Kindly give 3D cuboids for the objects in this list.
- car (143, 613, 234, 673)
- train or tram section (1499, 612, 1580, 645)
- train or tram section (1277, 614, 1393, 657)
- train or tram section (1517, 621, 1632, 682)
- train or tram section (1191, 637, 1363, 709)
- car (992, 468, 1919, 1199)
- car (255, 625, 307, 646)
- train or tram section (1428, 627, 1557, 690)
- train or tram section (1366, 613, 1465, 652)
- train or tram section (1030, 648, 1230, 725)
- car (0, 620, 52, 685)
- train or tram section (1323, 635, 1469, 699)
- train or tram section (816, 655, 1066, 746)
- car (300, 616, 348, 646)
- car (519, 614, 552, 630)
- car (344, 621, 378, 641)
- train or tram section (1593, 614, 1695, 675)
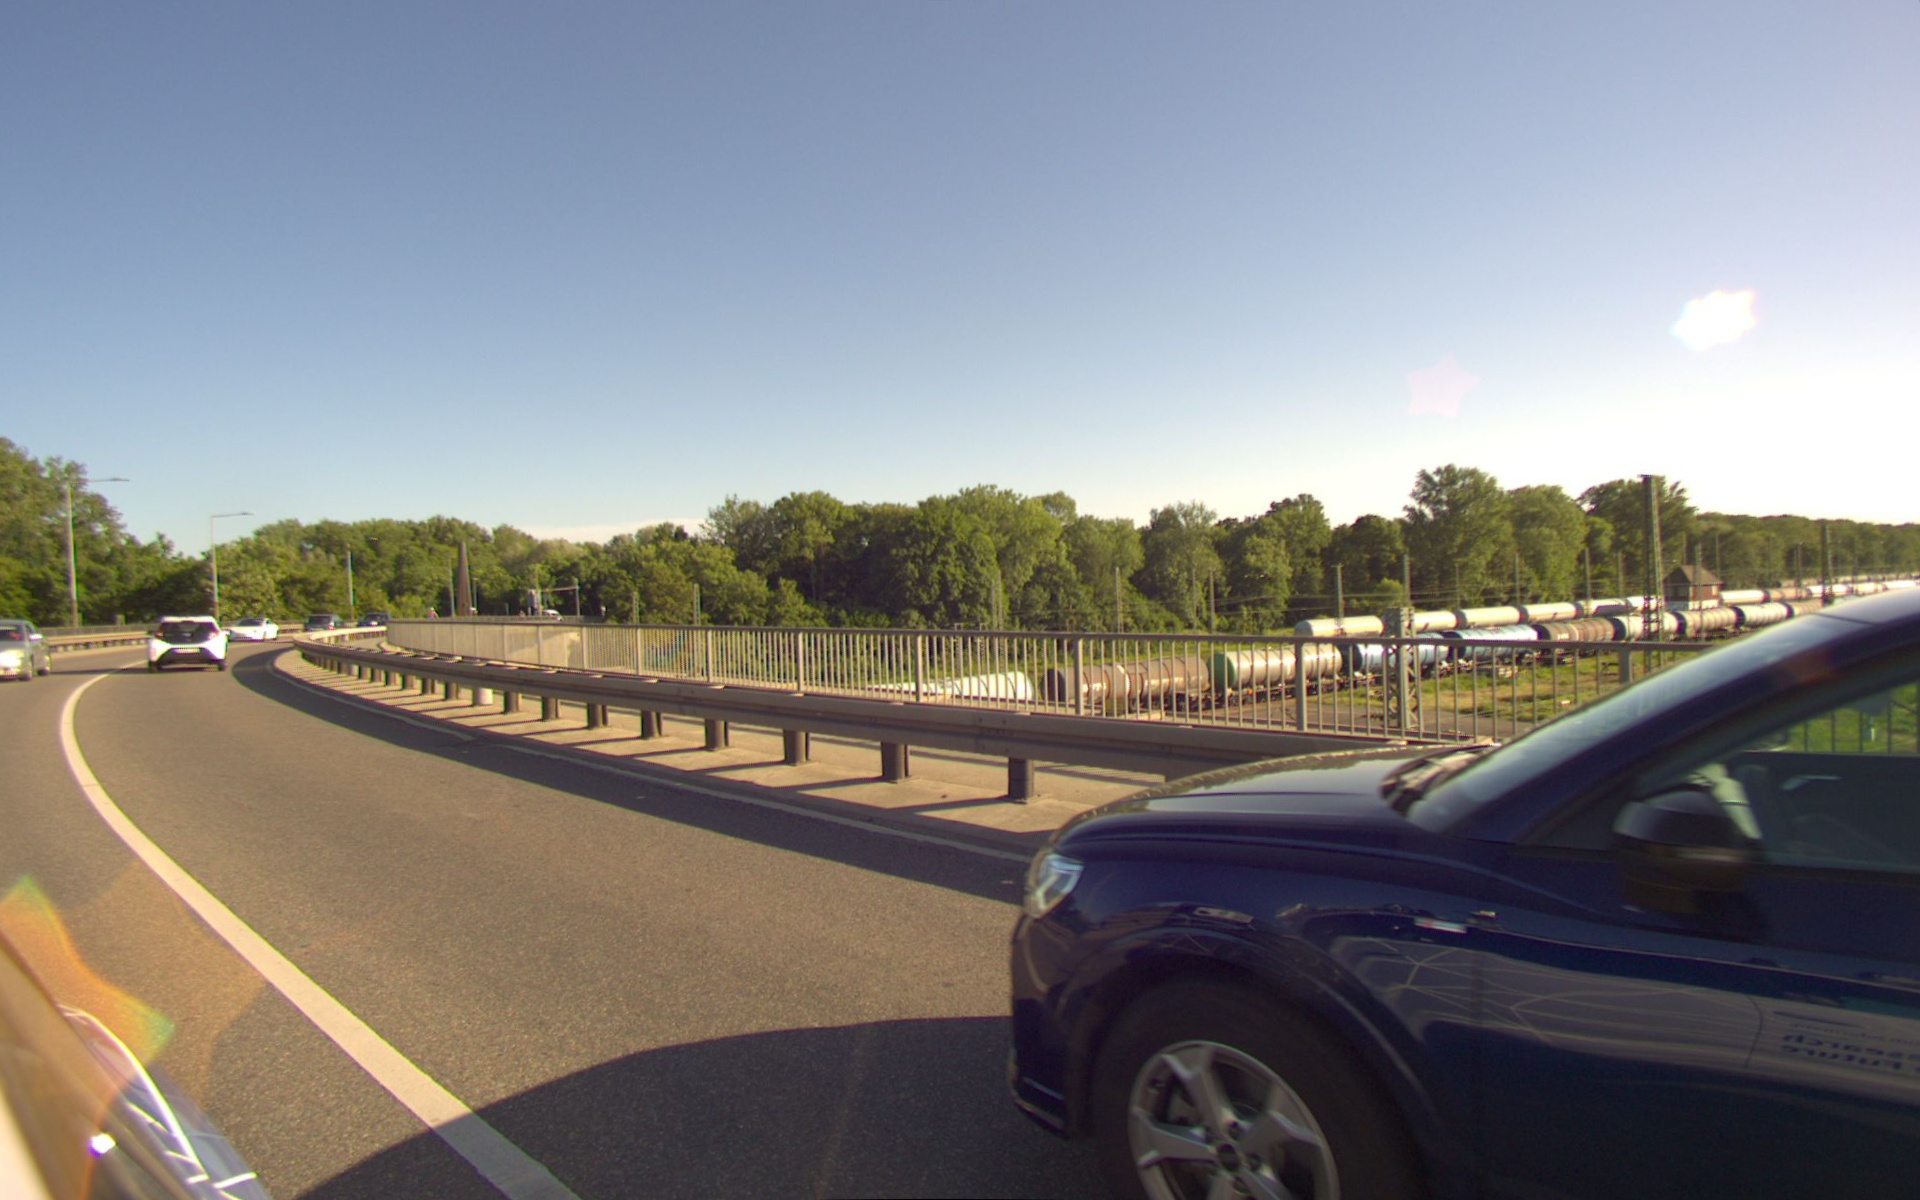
[{"bbox_3d":[-21.433,1.160,28.225,1.812,1.530,3.779,0,-1,-34],"label":"car"},{"bbox_3d":[93.847,4.517,163.676,17.571,5.125,4.059,0,-1,-35],"label":"train or tram section"},{"bbox_3d":[49.559,4.531,133.118,19.031,5.125,4.059,0,-1,-35],"label":"train or tram section"},{"bbox_3d":[66.804,5.382,109.728,16.676,6.055,3.916,0,-1,-34],"label":"train or tram section"},{"bbox_3d":[26.131,5.731,82.655,16.388,5.054,3.916,0,-1,-34],"label":"train or tram section"},{"bbox_3d":[2.248,0.607,1.603,4.181,1.564,1.805,-1,-1,40],"label":"car"},{"bbox_3d":[-51.777,2.658,77.221,1.961,1.484,4.140,0,-1,-13],"label":"car"},{"bbox_3d":[53.111,5.609,100.606,16.228,5.561,3.916,0,-1,-34],"label":"train or tram section"},{"bbox_3d":[64.795,4.526,143.599,17.885,5.125,4.059,0,-1,-35],"label":"train or tram section"},{"bbox_3d":[12.650,6.065,73.696,16.039,4.626,3.916,0,-1,-34],"label":"train or tram section"},{"bbox_3d":[-23.331,1.219,24.284,1.736,1.447,4.341,0,-1,-35],"label":"car"},{"bbox_3d":[39.681,5.859,91.662,16.092,5.054,3.916,0,-1,-34],"label":"train or tram section"},{"bbox_3d":[-0.863,6.143,64.691,16.488,4.626,3.916,0,-1,-34],"label":"train or tram section"},{"bbox_3d":[-37.319,1.791,59.465,1.822,1.635,4.116,0,-1,-24],"label":"car"},{"bbox_3d":[-72.993,3.864,173.952,5.680,2.518,2.095,-3,-2,28],"label":"car"},{"bbox_3d":[-50.985,2.587,86.174,1.890,1.630,3.754,0,-1,-20],"label":"car"},{"bbox_3d":[80.511,5.084,118.887,16.228,6.661,3.916,0,-1,-34],"label":"train or tram section"}]
